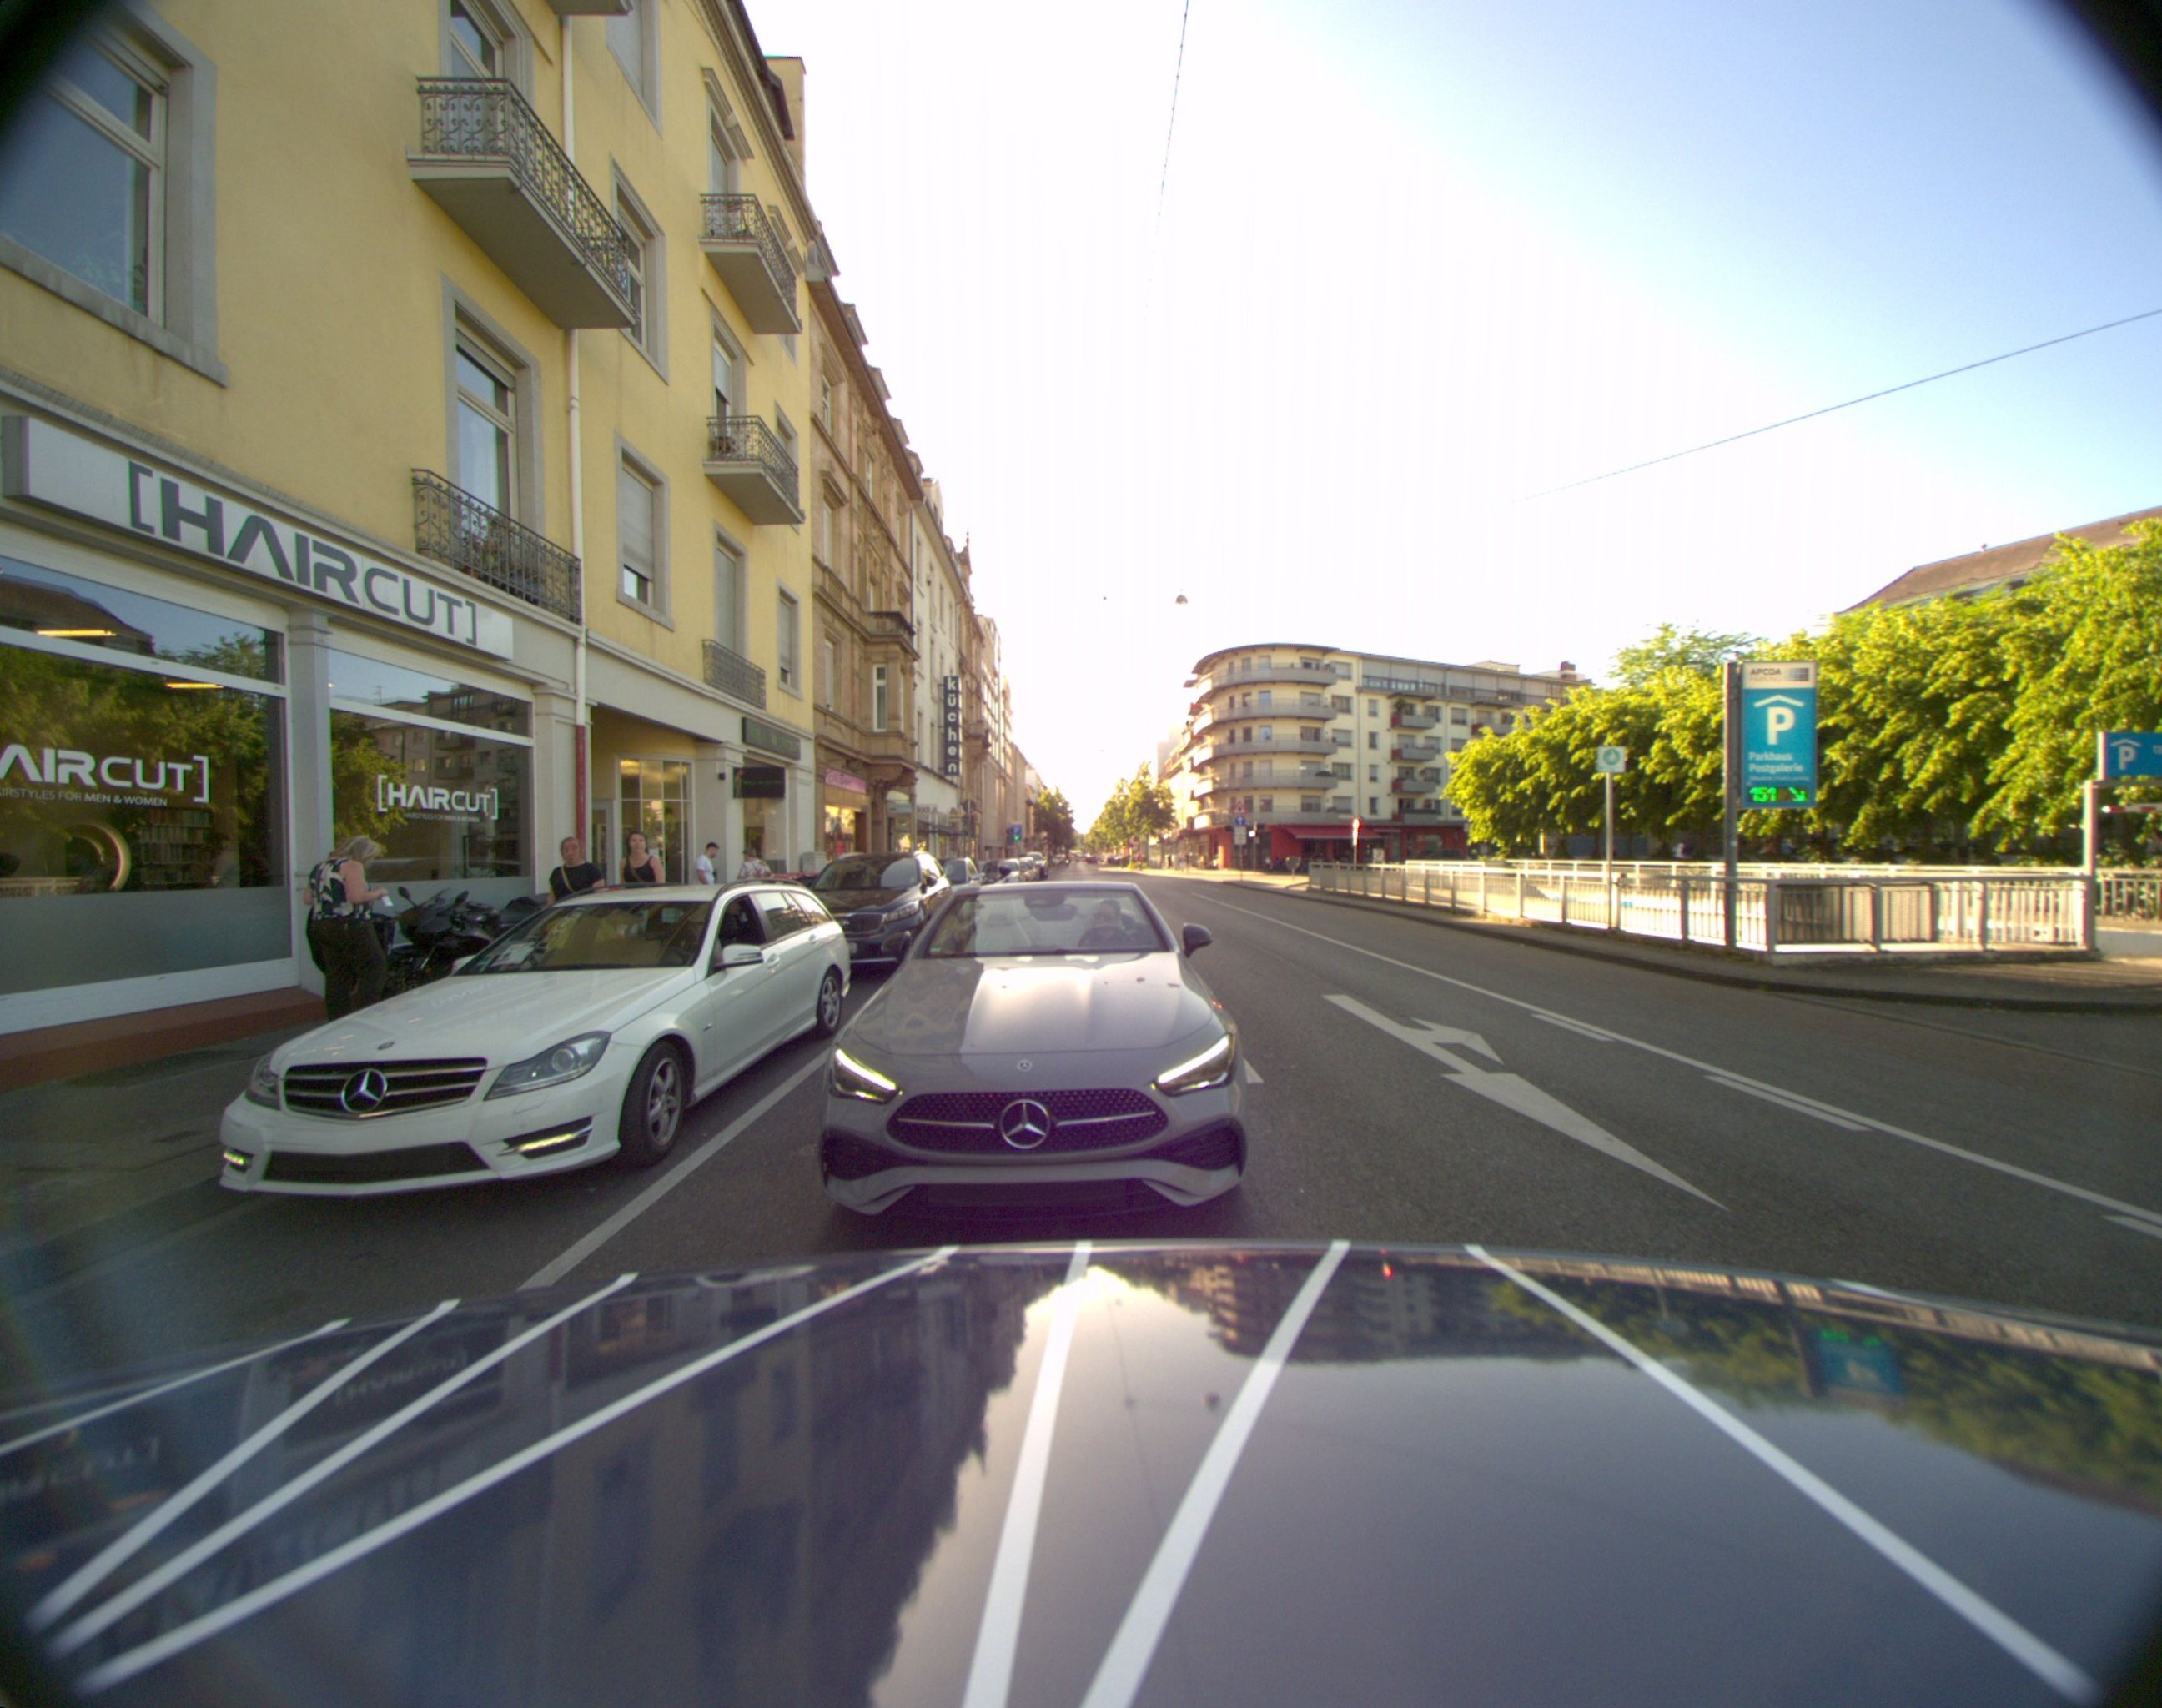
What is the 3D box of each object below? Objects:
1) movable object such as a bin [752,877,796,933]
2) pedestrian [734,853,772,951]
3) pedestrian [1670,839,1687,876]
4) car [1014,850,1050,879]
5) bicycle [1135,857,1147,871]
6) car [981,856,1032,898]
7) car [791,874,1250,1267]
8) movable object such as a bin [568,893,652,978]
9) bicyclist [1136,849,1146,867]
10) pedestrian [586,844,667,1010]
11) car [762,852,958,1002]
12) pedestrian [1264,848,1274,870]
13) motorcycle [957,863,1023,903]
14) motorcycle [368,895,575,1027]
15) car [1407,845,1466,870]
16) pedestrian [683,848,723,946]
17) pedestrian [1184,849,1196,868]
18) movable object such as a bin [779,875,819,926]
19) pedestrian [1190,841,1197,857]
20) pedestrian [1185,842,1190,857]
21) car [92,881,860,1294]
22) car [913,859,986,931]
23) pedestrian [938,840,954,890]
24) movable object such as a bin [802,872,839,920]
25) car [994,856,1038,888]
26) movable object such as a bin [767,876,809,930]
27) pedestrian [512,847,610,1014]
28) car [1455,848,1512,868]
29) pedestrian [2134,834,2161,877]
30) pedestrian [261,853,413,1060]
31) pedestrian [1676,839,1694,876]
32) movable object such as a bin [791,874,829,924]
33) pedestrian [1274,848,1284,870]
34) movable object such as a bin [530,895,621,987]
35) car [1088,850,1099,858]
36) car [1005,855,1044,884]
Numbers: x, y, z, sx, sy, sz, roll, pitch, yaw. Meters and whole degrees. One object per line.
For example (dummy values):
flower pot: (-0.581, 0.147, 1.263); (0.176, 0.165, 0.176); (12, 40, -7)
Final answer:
movable object such as a bin: (-6.123, 1.015, 15.185); (0.606, 1.060, 0.619); (2, 1, 0)
pedestrian: (-5.693, 0.811, 13.183); (0.593, 1.651, 0.450); (0, 1, -25)
pedestrian: (29.270, 0.155, 37.237); (0.602, 1.782, 0.581); (-3, 2, -45)
car: (-3.020, 0.629, 47.714); (1.895, 1.680, 4.049); (-1, 0, 0)
bicycle: (5.279, 0.854, 67.097); (0.713, 1.205, 1.872); (-2, 0, -6)
car: (-2.946, 0.853, 30.625); (1.737, 1.509, 4.164); (-1, 0, -2)
car: (-0.238, 0.949, 5.305); (1.848, 1.440, 4.373); (-1, 0, 0)
movable object such as a bin: (-6.127, 1.040, 9.911); (0.669, 1.019, 0.619); (2, 1, 3)
bicyclist: (5.266, 0.335, 67.028); (0.713, 1.605, 0.975); (-2, 1, -5)
pedestrian: (-4.596, 0.717, 7.704); (0.515, 1.623, 0.414); (-1, 1, -3)
car: (-2.988, 0.857, 11.300); (1.760, 1.726, 4.571); (-1, 0, -3)
pedestrian: (14.781, 0.371, 59.692); (0.575, 1.698, 0.642); (-1, 1, 3)
motorcycle: (-3.172, 0.999, 26.575); (2.178, 1.272, 0.866); (-2, 1, -42)
motorcycle: (-6.211, 1.030, 7.911); (0.551, 1.085, 2.009); (0, 0, -1)
car: (29.233, 0.240, 62.514); (4.432, 1.901, 1.951); (-2, 1, -24)
pedestrian: (-6.485, 0.717, 13.038); (0.337, 1.651, 0.525); (1, 1, 22)
pedestrian: (9.130, 0.366, 63.711); (0.774, 1.606, 0.696); (-1, 1, -3)
movable object such as a bin: (-6.088, 1.000, 16.446); (0.606, 1.060, 0.619); (2, 1, 0)
pedestrian: (11.504, -0.542, 77.791); (0.570, 1.612, 0.793); (-2, 1, -3)
pedestrian: (10.865, -0.472, 77.774); (0.376, 1.521, 0.516); (-2, 1, -3)
car: (-3.072, 1.018, 5.286); (1.743, 1.438, 4.463); (-1, 0, 0)
car: (-3.021, 0.893, 17.886); (1.275, 1.509, 2.794); (-1, 0, -2)
pedestrian: (-4.886, 0.391, 27.446); (0.434, 1.752, 0.481); (-2, 1, 1)
movable object such as a bin: (-6.077, 0.974, 17.749); (0.606, 1.060, 0.619); (2, 1, 0)
car: (-3.090, 0.839, 36.845); (1.737, 1.409, 3.802); (-1, 0, 0)
movable object such as a bin: (-6.100, 1.007, 15.832); (0.606, 1.060, 0.619); (2, 1, 0)
pedestrian: (-5.238, 0.752, 7.685); (0.618, 1.623, 0.463); (-1, 1, -3)
car: (34.260, 0.317, 64.672); (4.300, 1.611, 1.951); (-2, 1, -24)
pedestrian: (45.817, 0.056, 32.604); (0.602, 1.782, 0.581); (-2, 1, -20)
pedestrian: (-6.047, 0.804, 6.207); (0.698, 1.623, 0.532); (0, 1, -2)
pedestrian: (29.006, 0.172, 36.472); (0.602, 1.782, 0.581); (-3, 2, -45)
movable object such as a bin: (-6.078, 1.005, 17.080); (0.606, 1.060, 0.619); (2, 1, 0)
pedestrian: (15.496, 0.354, 59.466); (0.575, 1.698, 0.642); (-1, 1, 3)
movable object such as a bin: (-6.156, 1.043, 9.279); (0.661, 1.035, 0.619); (2, 1, 3)
car: (2.215, -0.012, 135.839); (1.806, 1.388, 3.926); (-1, 0, 0)
car: (-3.014, 0.805, 41.085); (1.737, 1.409, 3.802); (-1, 0, 0)
